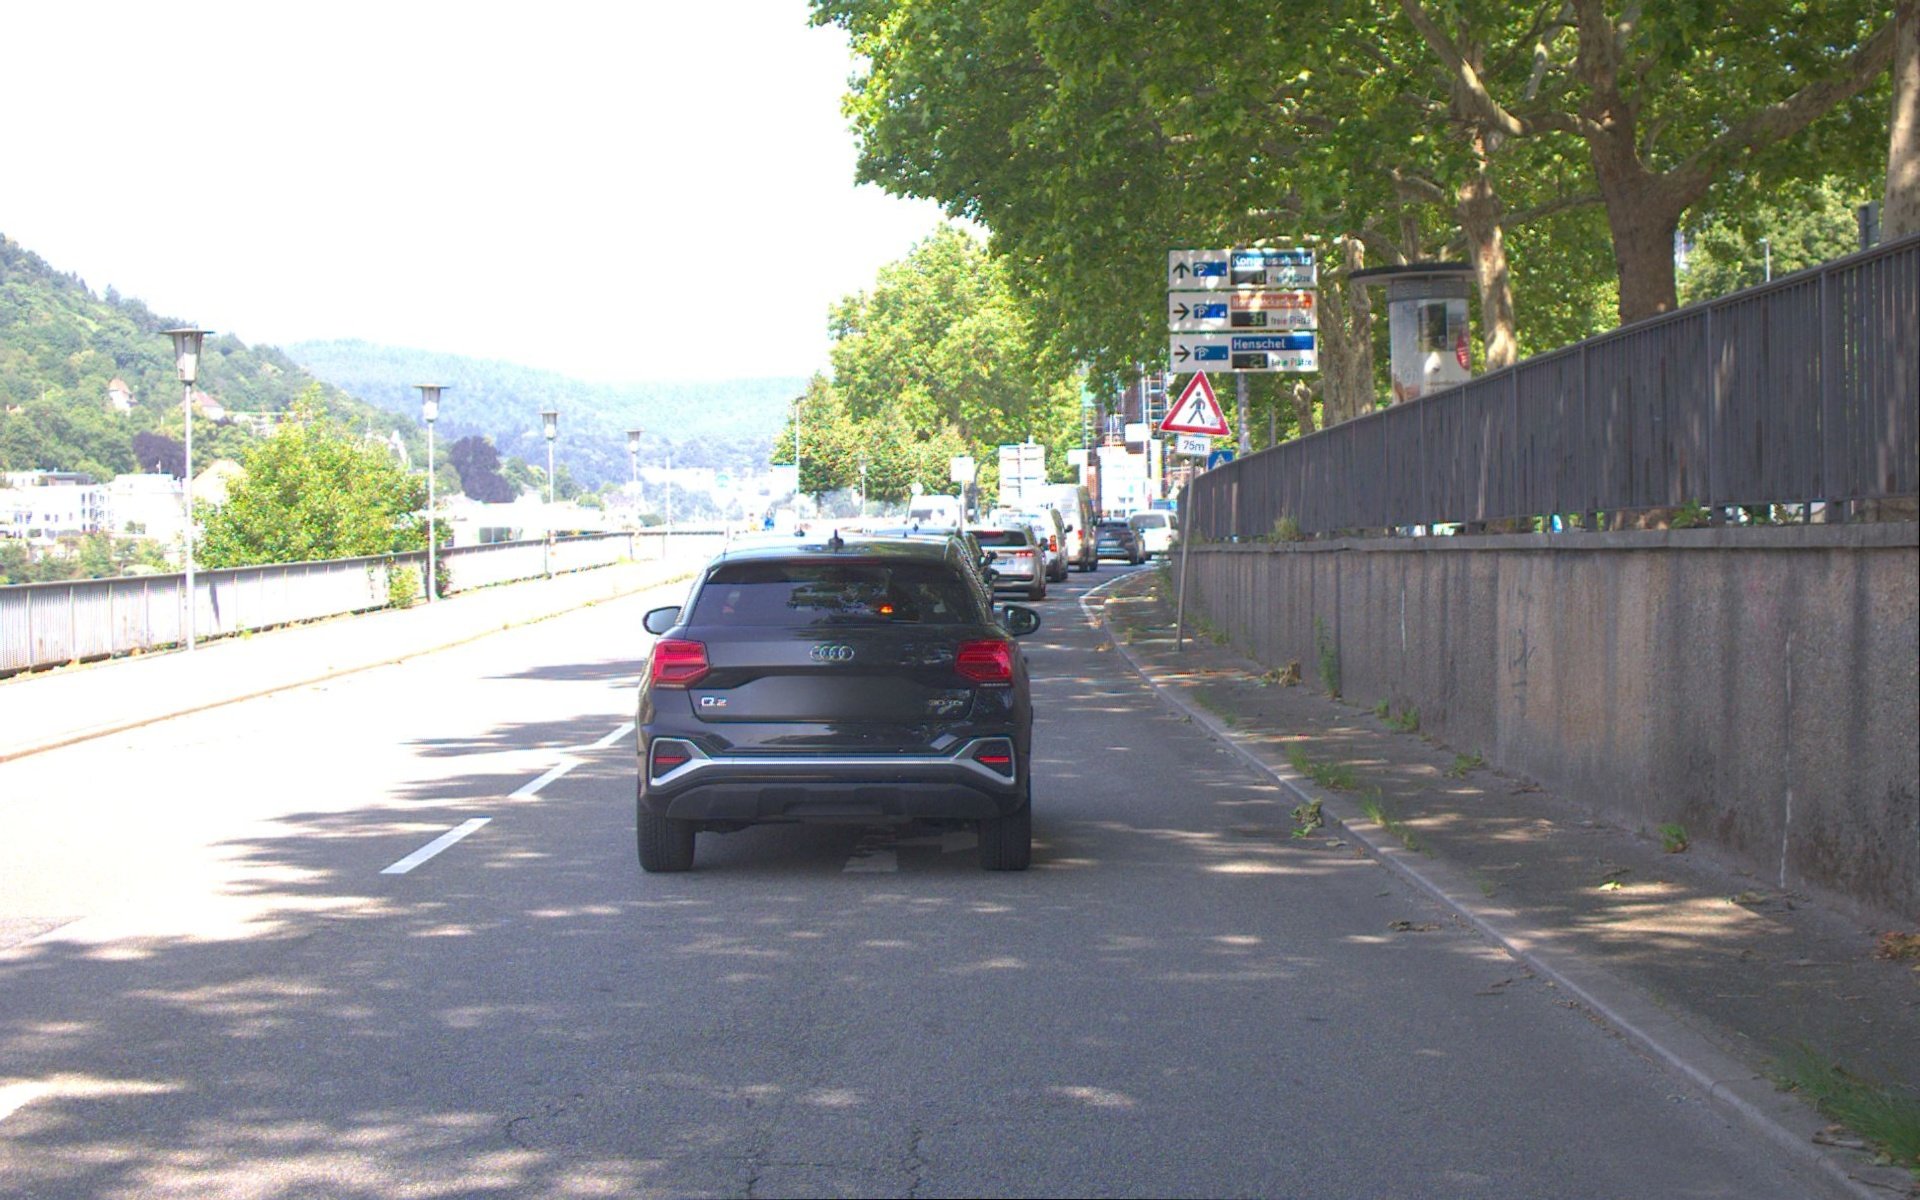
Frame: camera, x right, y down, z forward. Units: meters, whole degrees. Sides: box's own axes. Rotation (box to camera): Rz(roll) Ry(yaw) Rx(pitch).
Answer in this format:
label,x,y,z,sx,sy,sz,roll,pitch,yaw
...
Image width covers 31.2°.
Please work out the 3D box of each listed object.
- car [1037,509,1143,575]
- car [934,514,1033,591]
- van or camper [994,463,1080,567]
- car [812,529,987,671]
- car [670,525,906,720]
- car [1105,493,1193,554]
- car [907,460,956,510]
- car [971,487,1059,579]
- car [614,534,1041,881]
label,x,y,z,sx,sy,sz,roll,pitch,yaw
car,4.243,-1.918,113.102,3.098,2.007,5.825,-2,1,-1
car,0.432,-0.932,66.794,1.828,1.439,4.000,0,1,-1
van or camper,2.215,-2.431,98.872,2.310,2.837,4.246,-2,1,1
car,-0.672,-0.042,38.039,1.828,1.481,4.000,0,1,-1
car,-1.367,0.133,28.641,1.828,1.506,4.000,0,1,-1
car,6.809,-2.768,124.473,2.661,2.006,5.825,-3,1,-1
car,-1.252,-5.013,150.522,1.993,2.006,4.000,-3,1,-1
car,1.344,-1.673,86.264,1.993,2.162,4.000,-2,1,-1
car,-0.605,0.426,16.754,1.828,1.481,4.000,0,1,-1
